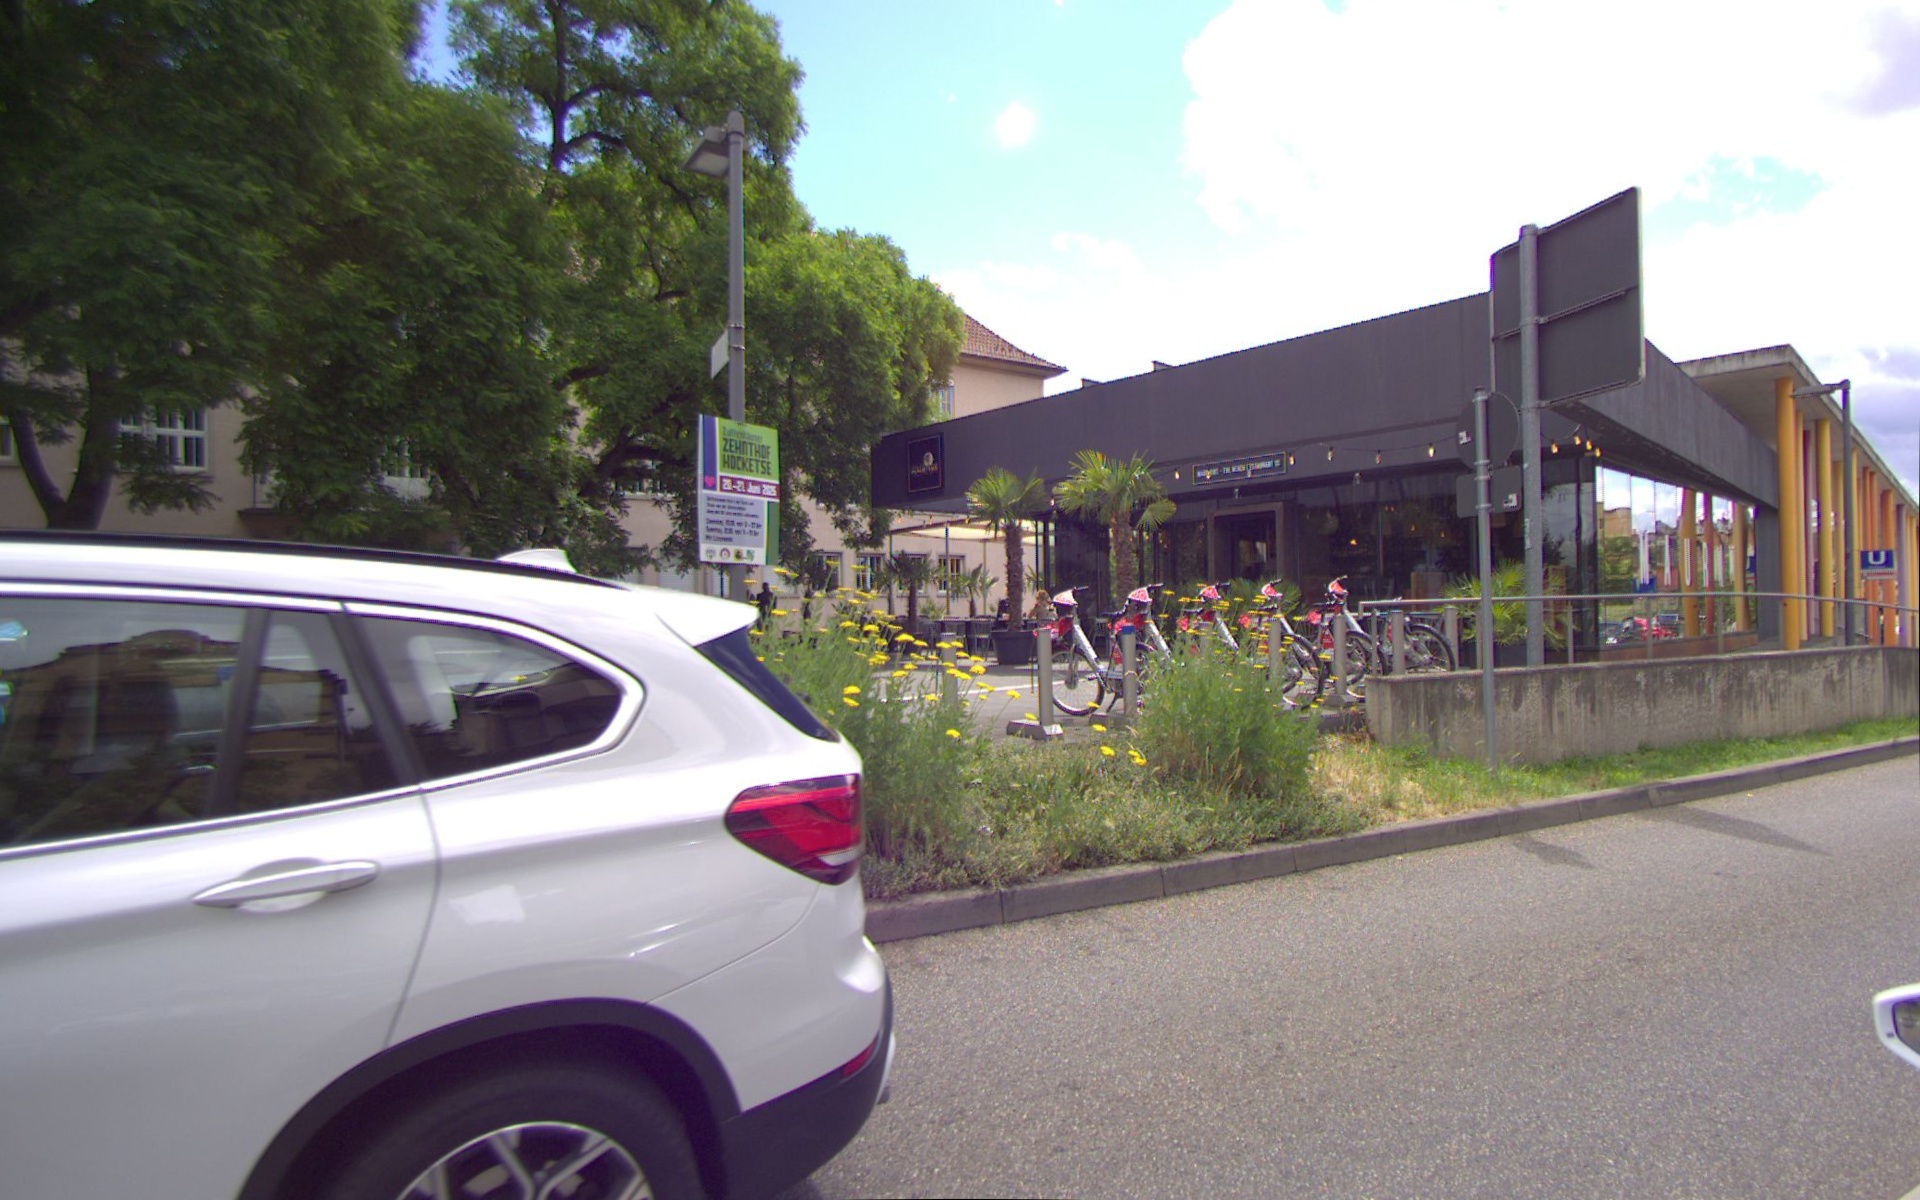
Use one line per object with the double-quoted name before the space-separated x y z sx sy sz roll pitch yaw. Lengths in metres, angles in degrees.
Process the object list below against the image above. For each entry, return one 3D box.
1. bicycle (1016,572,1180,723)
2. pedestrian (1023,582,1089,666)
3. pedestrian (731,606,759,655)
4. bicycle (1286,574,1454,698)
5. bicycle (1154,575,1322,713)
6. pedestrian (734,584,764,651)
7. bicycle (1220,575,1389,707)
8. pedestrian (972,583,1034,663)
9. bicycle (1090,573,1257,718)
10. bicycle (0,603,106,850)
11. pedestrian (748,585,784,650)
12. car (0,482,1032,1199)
"bicycle" 1.111 0.385 8.415 0.527 1.142 1.540 0 -2 -29
"pedestrian" 1.652 0.408 17.256 0.787 1.397 0.790 2 -1 -43
"pedestrian" -6.126 0.864 28.565 0.586 1.356 0.639 2 -1 -30
"bicycle" 4.050 0.357 10.034 0.527 1.142 1.540 0 -2 -29
"bicycle" 2.478 0.395 9.128 0.527 1.142 1.540 0 -2 -29
"pedestrian" -5.827 0.491 27.716 0.586 1.832 0.639 2 -1 -30
"bicycle" 3.204 0.384 9.489 0.527 1.142 1.540 0 -2 -29
"pedestrian" 0.785 0.418 18.276 0.787 1.397 0.790 2 -1 -43
"bicycle" 1.816 0.387 8.753 0.527 1.142 1.540 0 -2 -29
"bicycle" -4.826 0.590 5.114 0.510 1.096 1.676 -2 -1 -34
"pedestrian" -4.826 0.427 24.942 0.636 1.585 0.730 2 -1 -31
"car" -2.078 0.647 2.002 4.111 1.605 1.816 1 -1 -27
